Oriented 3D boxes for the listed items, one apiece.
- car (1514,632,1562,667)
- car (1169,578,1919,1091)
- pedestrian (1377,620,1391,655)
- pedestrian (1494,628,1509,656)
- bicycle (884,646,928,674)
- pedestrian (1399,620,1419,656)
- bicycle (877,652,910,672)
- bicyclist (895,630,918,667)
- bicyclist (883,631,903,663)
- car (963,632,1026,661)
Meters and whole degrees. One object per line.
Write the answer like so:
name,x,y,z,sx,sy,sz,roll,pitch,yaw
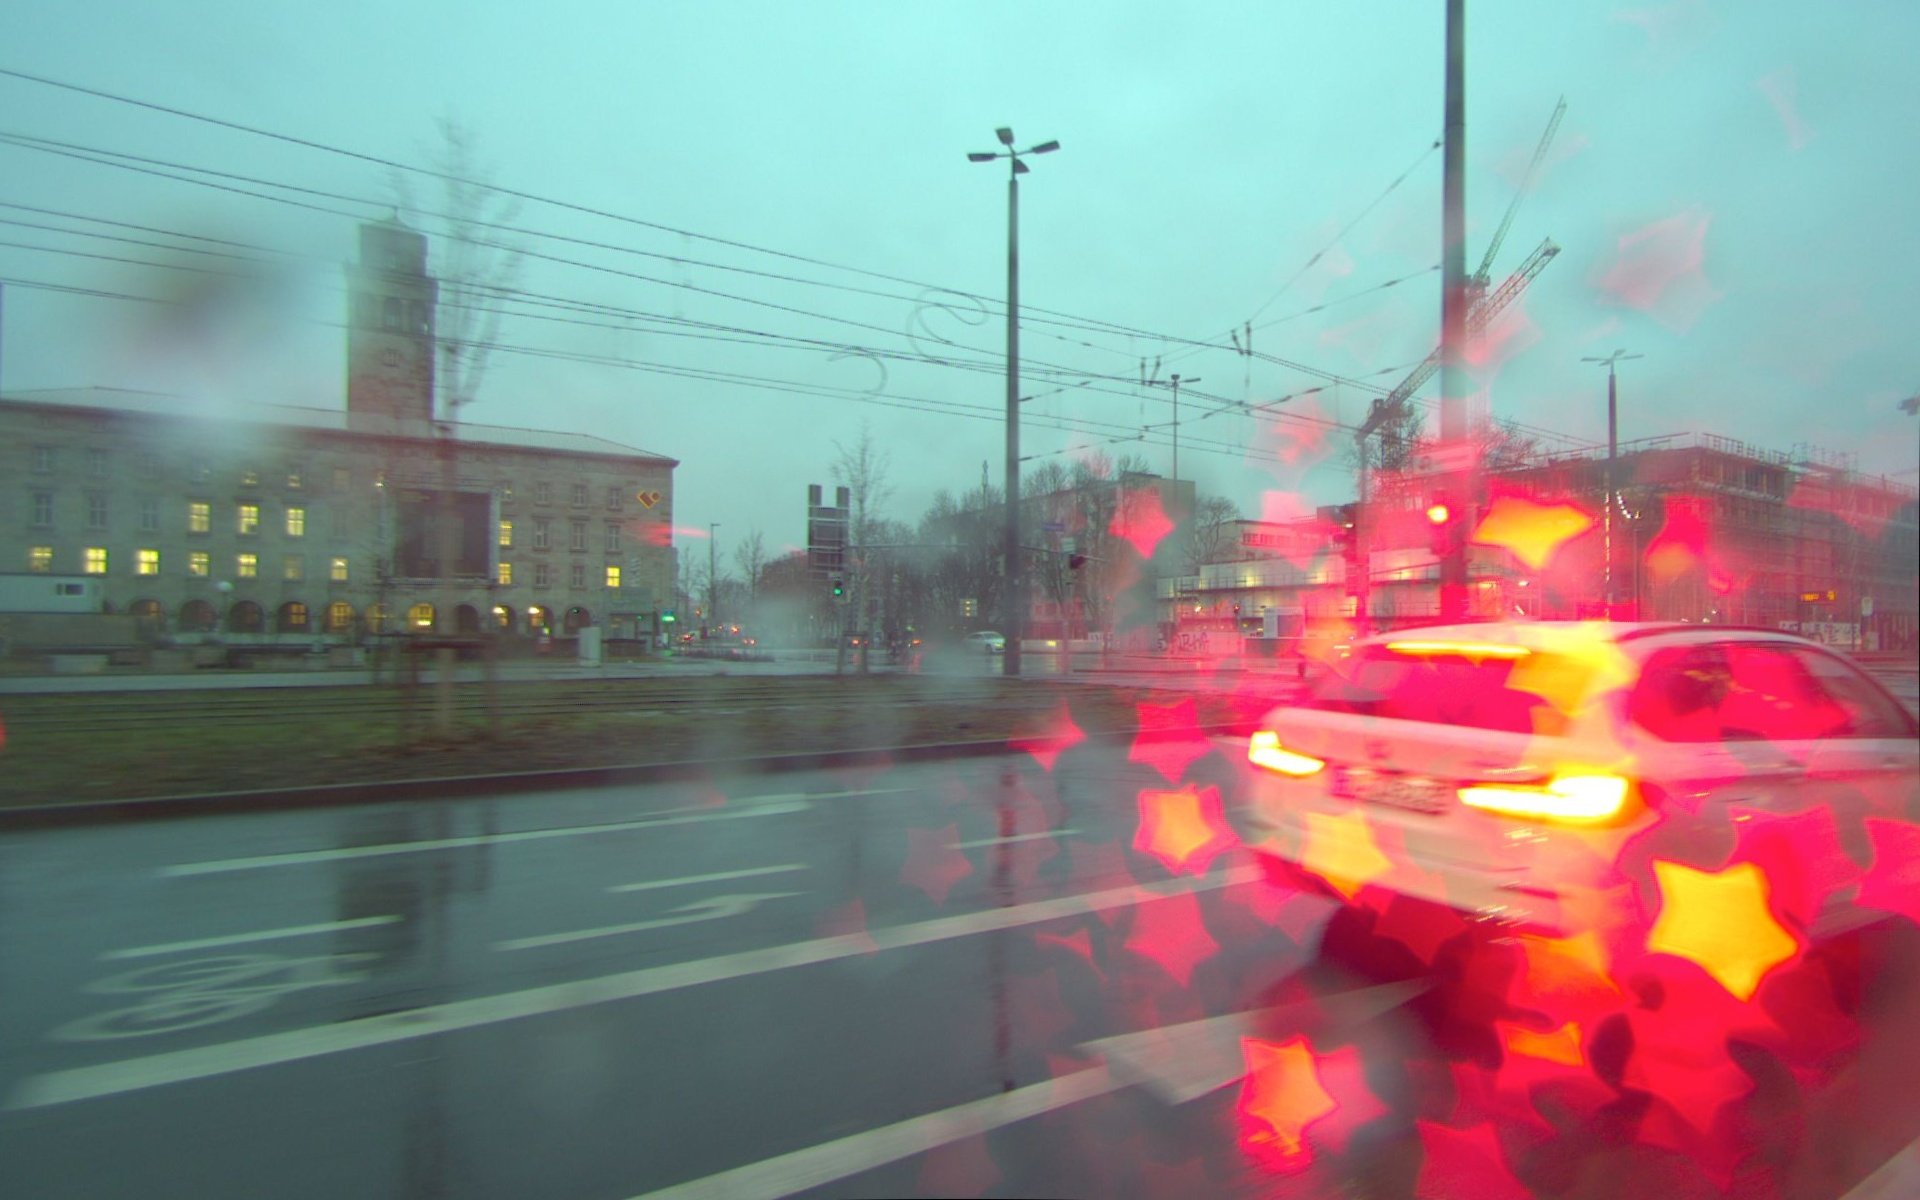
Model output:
car,35.072,2.949,60.921,1.736,2.040,3.979,-1,-2,42
car,3.530,0.783,5.118,4.867,1.540,1.900,1,-2,-31
pedestrian,24.659,2.184,58.419,0.635,2.039,0.503,5,-6,-40
pedestrian,31.039,2.412,57.580,0.637,1.549,0.792,-1,-3,40
bicycle,-2.750,3.010,50.690,0.714,1.380,2.810,2,-3,-38
pedestrian,25.862,2.176,57.892,0.741,2.039,0.786,6,-5,-39
bicycle,-3.575,3.305,53.684,0.612,1.046,2.357,2,-2,-35
bicyclist,-2.695,2.440,50.652,0.714,1.863,0.986,2,-3,-38
bicyclist,-3.569,2.514,53.713,0.612,1.719,1.026,2,-2,-36
car,2.076,2.800,61.464,1.978,1.706,3.966,1,-2,-32
